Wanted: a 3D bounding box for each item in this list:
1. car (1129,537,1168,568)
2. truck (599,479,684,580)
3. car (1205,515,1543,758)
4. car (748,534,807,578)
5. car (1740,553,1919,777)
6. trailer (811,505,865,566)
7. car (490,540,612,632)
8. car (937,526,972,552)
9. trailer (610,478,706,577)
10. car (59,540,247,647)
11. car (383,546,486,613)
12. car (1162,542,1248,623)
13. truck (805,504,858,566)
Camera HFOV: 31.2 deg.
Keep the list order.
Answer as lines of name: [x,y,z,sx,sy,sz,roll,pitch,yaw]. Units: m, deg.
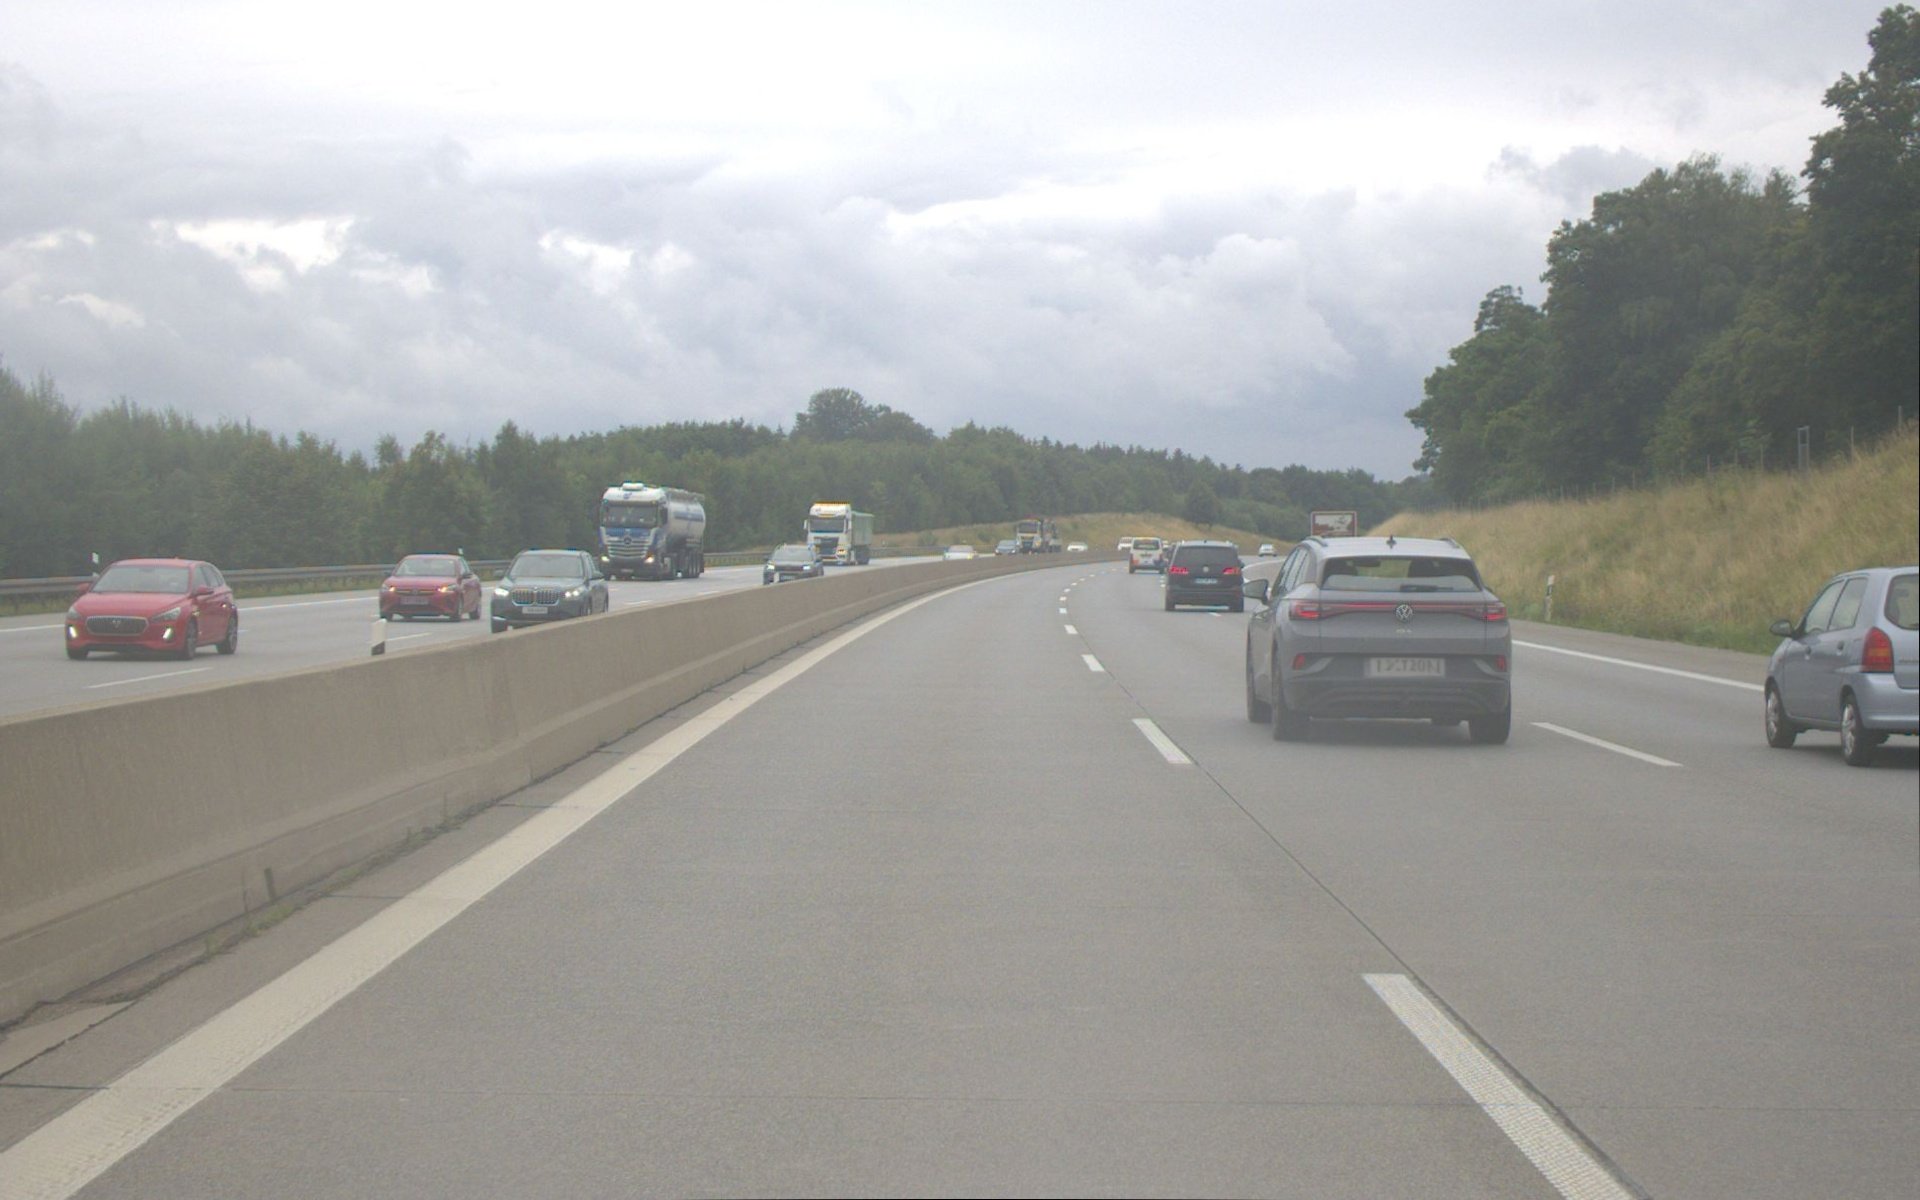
car: [10.224,-2.571,186.283,1.841,1.495,3.999,-2,2,7]
truck: [-13.030,-2.939,141.084,2.747,3.985,6.930,1,2,0]
car: [3.294,0.208,28.399,1.898,1.684,5.267,-2,2,-2]
car: [-6.382,-1.544,120.387,1.792,1.412,4.343,1,2,1]
car: [6.981,0.433,25.566,1.485,1.465,3.505,0,2,-1]
trailer: [-7.792,-4.168,220.337,2.749,3.787,9.316,1,1,2]
car: [-7.813,-0.296,66.081,1.722,1.582,4.972,-1,2,0]
car: [-0.332,-3.873,217.287,1.993,1.436,4.767,2,2,1]
trailer: [-12.905,-3.204,147.853,2.758,3.984,12.290,1,2,1]
car: [-11.958,-0.086,51.193,1.718,1.503,4.487,-1,0,0]
car: [-11.375,-0.474,74.693,1.518,1.388,4.487,1,1,0]
car: [5.841,-0.451,82.394,1.785,1.741,3.915,-2,2,1]
truck: [-8.025,-4.056,215.263,2.750,3.789,5.530,1,1,3]
